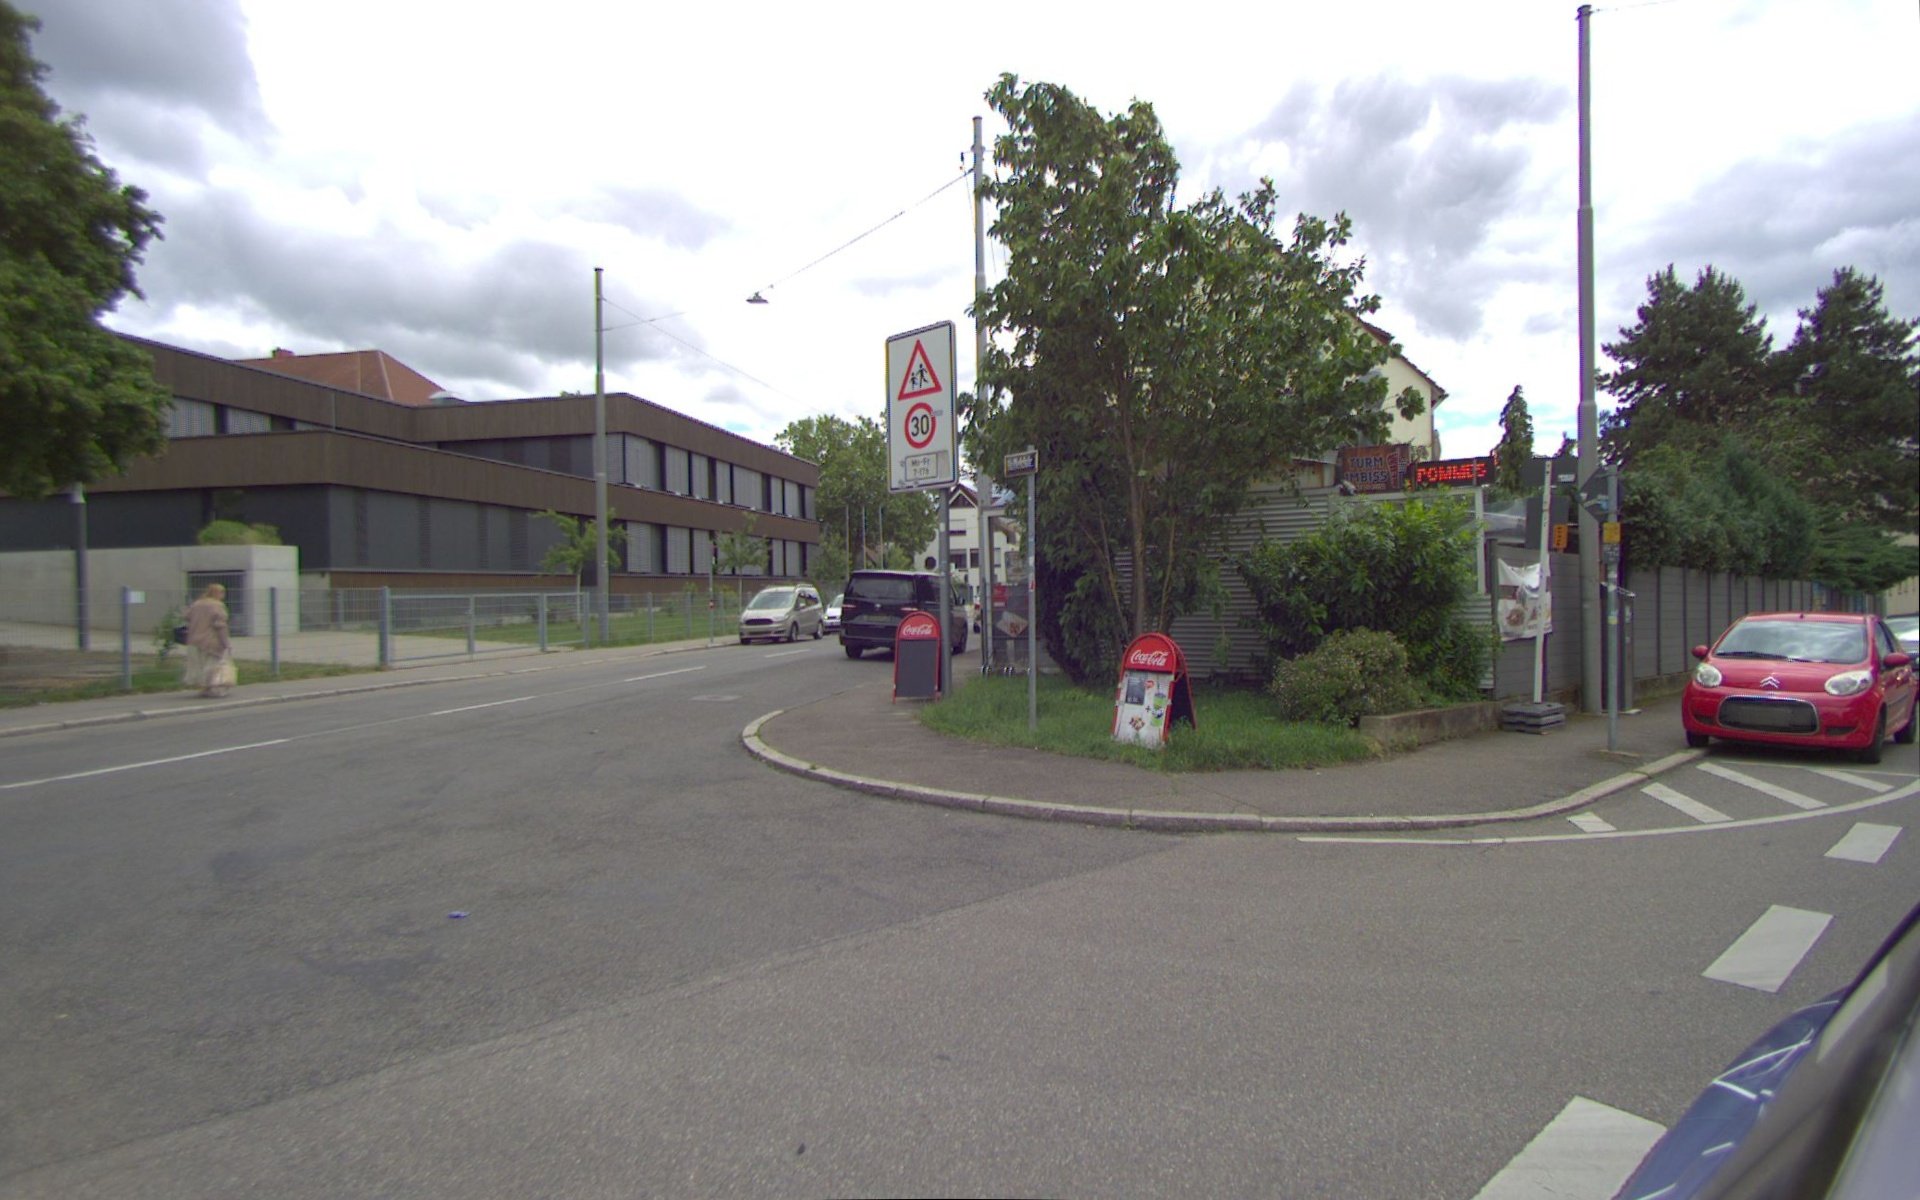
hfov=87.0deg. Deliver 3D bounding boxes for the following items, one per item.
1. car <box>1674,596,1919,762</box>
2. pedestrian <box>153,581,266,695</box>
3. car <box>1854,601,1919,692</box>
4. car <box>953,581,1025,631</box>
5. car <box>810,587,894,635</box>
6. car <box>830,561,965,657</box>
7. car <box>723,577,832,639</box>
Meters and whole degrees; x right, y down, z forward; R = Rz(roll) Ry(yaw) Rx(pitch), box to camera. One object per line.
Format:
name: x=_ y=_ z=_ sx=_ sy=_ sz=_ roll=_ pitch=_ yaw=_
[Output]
car: x=9.535 y=0.720 z=11.245 sx=3.930 sy=1.499 sz=1.718 roll=0 pitch=1 yaw=-41
pedestrian: x=-10.638 y=0.513 z=14.368 sx=0.886 sy=1.555 sz=0.956 roll=0 pitch=0 yaw=12
car: x=17.429 y=0.760 z=17.898 sx=3.930 sy=1.500 sz=1.817 roll=0 pitch=-3 yaw=-41
car: x=1.137 y=0.165 z=36.976 sx=1.968 sy=1.694 sz=4.379 roll=1 pitch=1 yaw=11
car: x=-3.904 y=0.343 z=37.321 sx=1.967 sy=1.625 sz=4.381 roll=1 pitch=1 yaw=9
car: x=-1.248 y=0.132 z=22.454 sx=1.968 sy=1.901 sz=4.379 roll=1 pitch=1 yaw=11
car: x=-5.549 y=0.207 z=31.376 sx=1.967 sy=1.763 sz=4.381 roll=1 pitch=1 yaw=9
